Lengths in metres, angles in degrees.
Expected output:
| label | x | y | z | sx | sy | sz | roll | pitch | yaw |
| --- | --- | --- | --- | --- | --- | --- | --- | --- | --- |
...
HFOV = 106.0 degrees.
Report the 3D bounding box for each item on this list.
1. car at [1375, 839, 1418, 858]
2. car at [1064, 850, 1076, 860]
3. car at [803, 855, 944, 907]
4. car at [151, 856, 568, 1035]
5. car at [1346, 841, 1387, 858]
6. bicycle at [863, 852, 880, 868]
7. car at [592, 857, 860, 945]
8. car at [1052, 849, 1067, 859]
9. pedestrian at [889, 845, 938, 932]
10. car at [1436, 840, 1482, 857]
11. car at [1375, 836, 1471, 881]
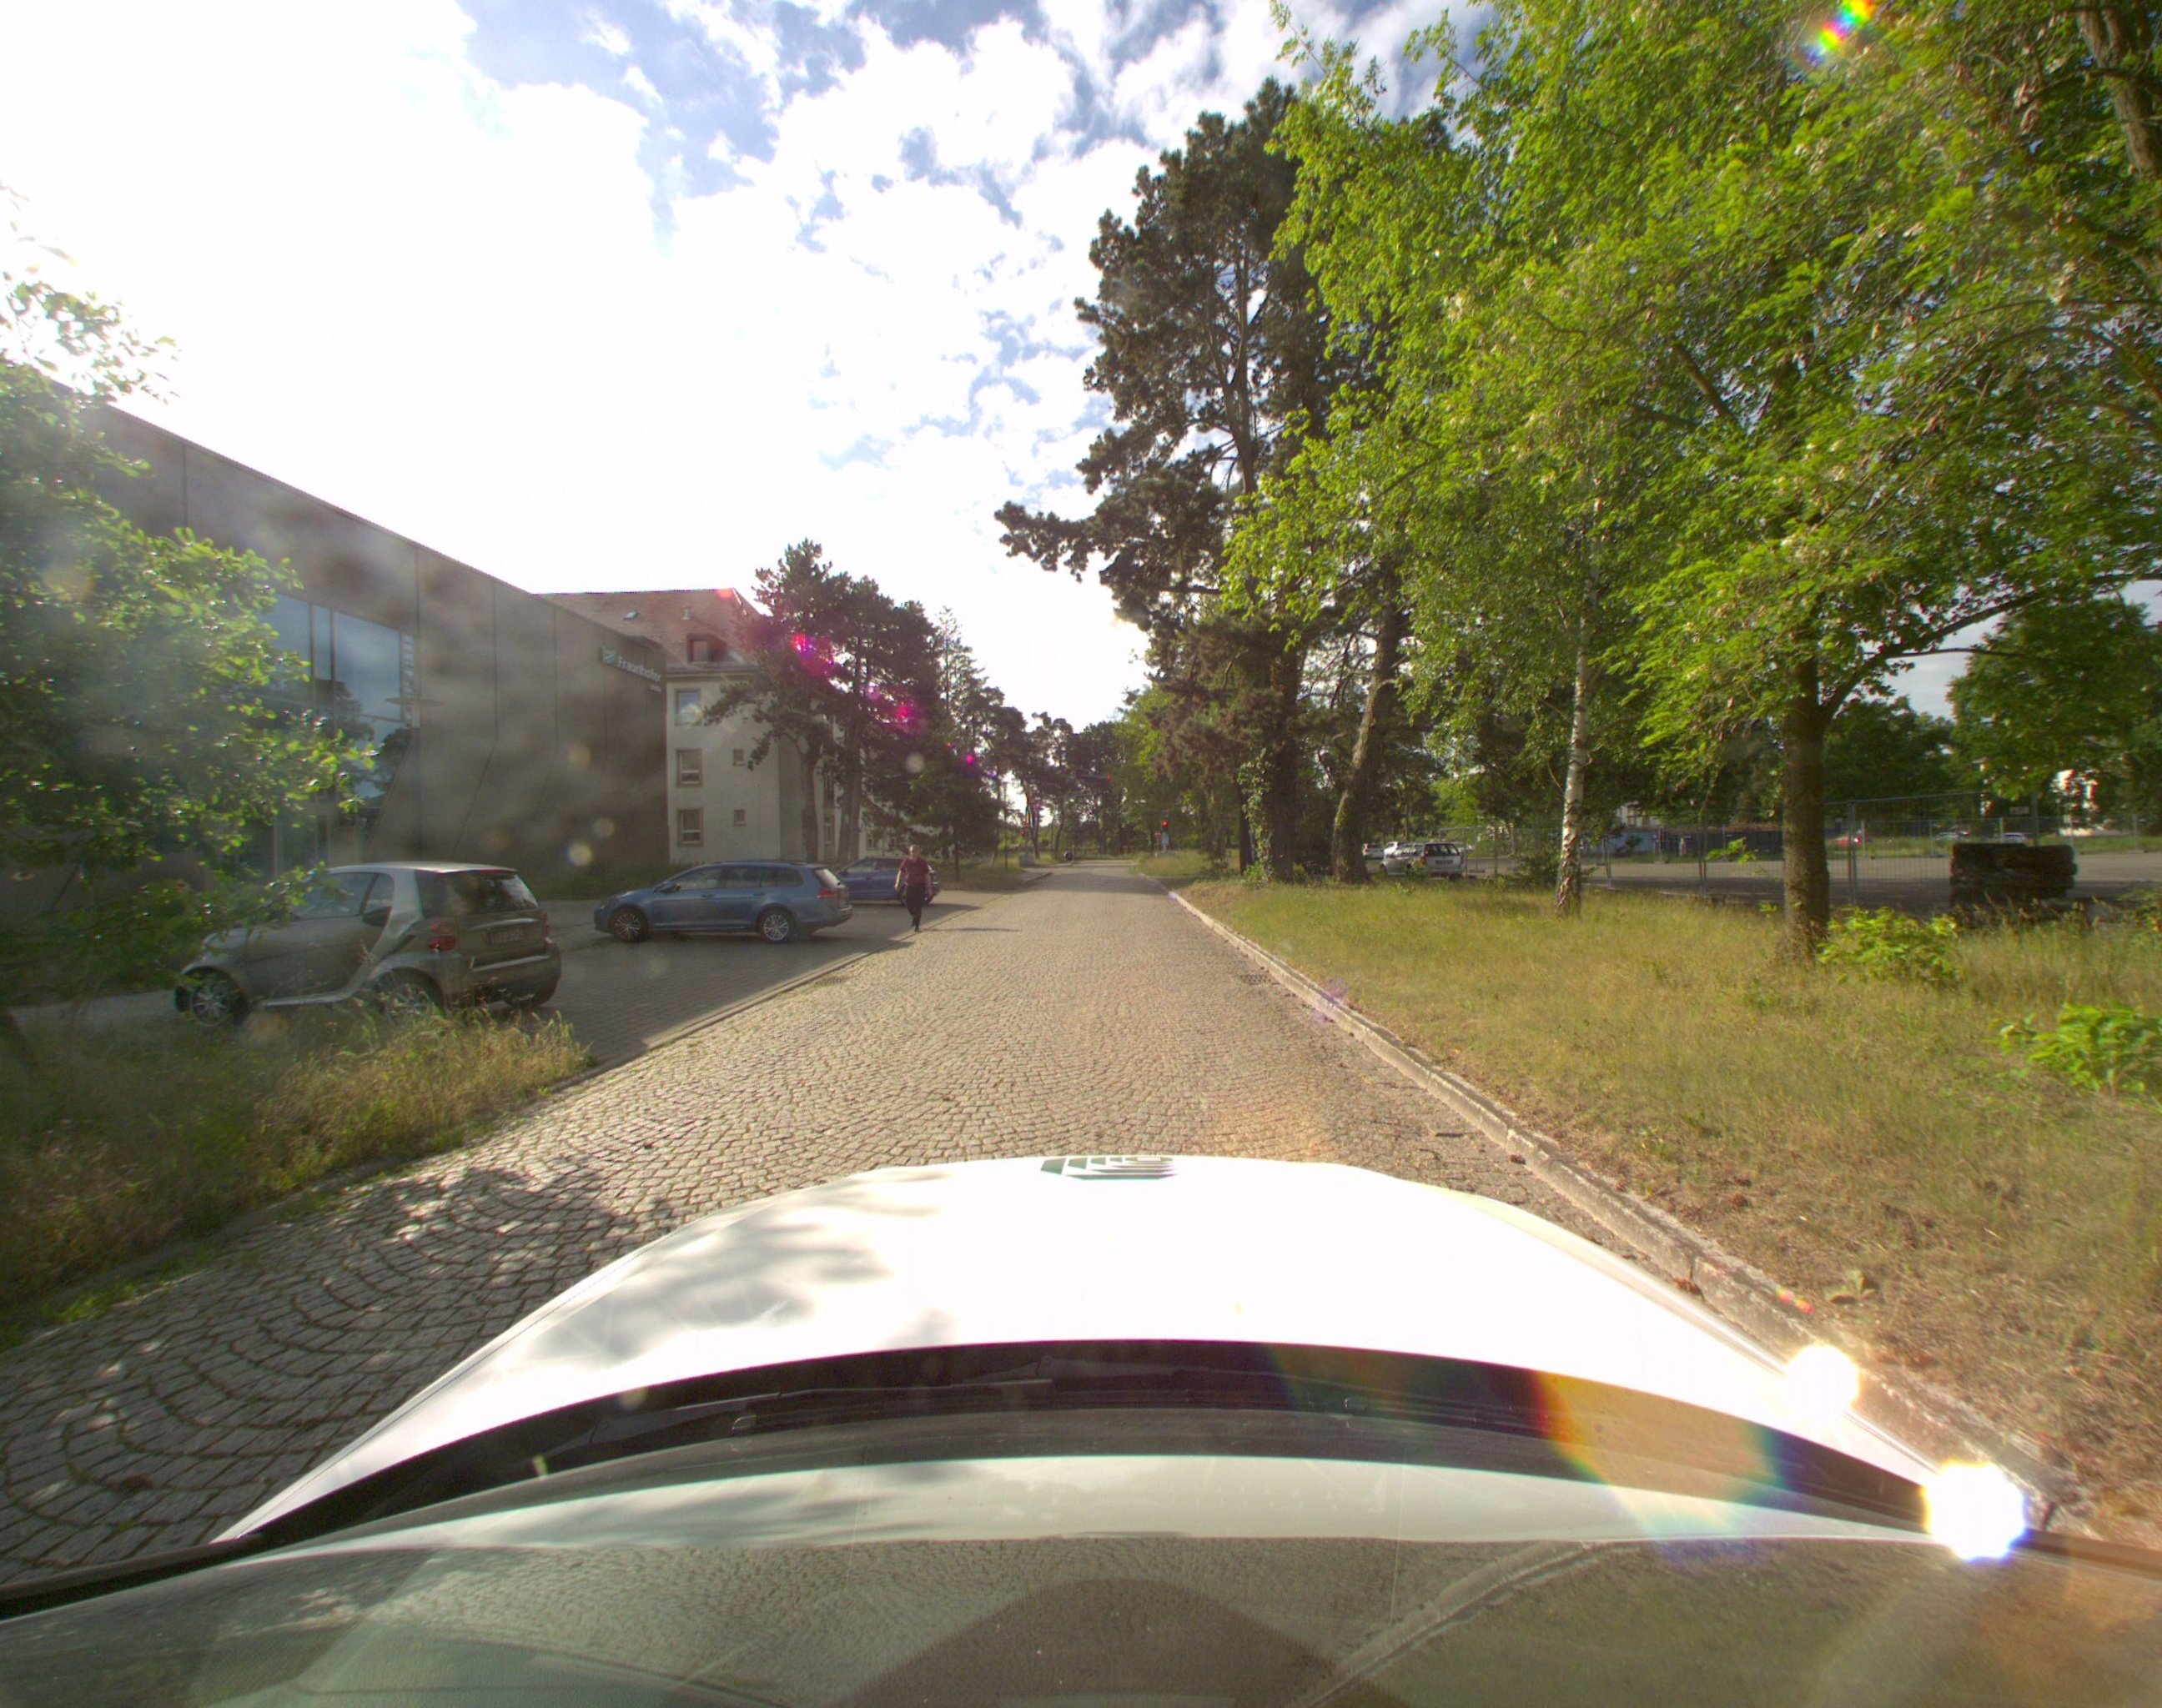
| label | x | y | z | sx | sy | sz | roll | pitch | yaw |
| --- | --- | --- | --- | --- | --- | --- | --- | --- | --- |
| car | 25.891 | -0.411 | 66.989 | 1.726 | 1.476 | 4.329 | -1 | 0 | -2 |
| car | -1.749 | 0.128 | 131.021 | 1.839 | 1.486 | 3.999 | -1 | 0 | -1 |
| car | -6.263 | 0.795 | 24.853 | 3.820 | 1.464 | 1.721 | 0 | 0 | 3 |
| car | -6.857 | 0.812 | 7.959 | 2.689 | 1.542 | 1.519 | 0 | 0 | 0 |
| car | 23.369 | -0.348 | 66.729 | 1.726 | 1.312 | 4.329 | -1 | 1 | -2 |
| bicycle | -19.336 | 0.551 | 75.313 | 0.823 | 1.437 | 2.555 | -1 | 0 | 2 |
| car | -6.492 | 0.835 | 15.246 | 4.244 | 1.464 | 1.680 | 1 | 2 | -1 |
| car | -3.610 | -0.025 | 135.802 | 1.772 | 1.490 | 3.765 | -1 | 0 | 9 |
| pedestrian | -3.550 | 0.708 | 17.321 | 0.802 | 1.771 | 1.152 | -1 | 0 | -2 |
| car | 31.251 | -0.435 | 67.471 | 1.726 | 1.312 | 4.329 | -2 | 0 | -2 |
| car | 12.203 | 0.131 | 29.295 | 1.663 | 1.467 | 3.997 | -1 | 0 | -2 |
